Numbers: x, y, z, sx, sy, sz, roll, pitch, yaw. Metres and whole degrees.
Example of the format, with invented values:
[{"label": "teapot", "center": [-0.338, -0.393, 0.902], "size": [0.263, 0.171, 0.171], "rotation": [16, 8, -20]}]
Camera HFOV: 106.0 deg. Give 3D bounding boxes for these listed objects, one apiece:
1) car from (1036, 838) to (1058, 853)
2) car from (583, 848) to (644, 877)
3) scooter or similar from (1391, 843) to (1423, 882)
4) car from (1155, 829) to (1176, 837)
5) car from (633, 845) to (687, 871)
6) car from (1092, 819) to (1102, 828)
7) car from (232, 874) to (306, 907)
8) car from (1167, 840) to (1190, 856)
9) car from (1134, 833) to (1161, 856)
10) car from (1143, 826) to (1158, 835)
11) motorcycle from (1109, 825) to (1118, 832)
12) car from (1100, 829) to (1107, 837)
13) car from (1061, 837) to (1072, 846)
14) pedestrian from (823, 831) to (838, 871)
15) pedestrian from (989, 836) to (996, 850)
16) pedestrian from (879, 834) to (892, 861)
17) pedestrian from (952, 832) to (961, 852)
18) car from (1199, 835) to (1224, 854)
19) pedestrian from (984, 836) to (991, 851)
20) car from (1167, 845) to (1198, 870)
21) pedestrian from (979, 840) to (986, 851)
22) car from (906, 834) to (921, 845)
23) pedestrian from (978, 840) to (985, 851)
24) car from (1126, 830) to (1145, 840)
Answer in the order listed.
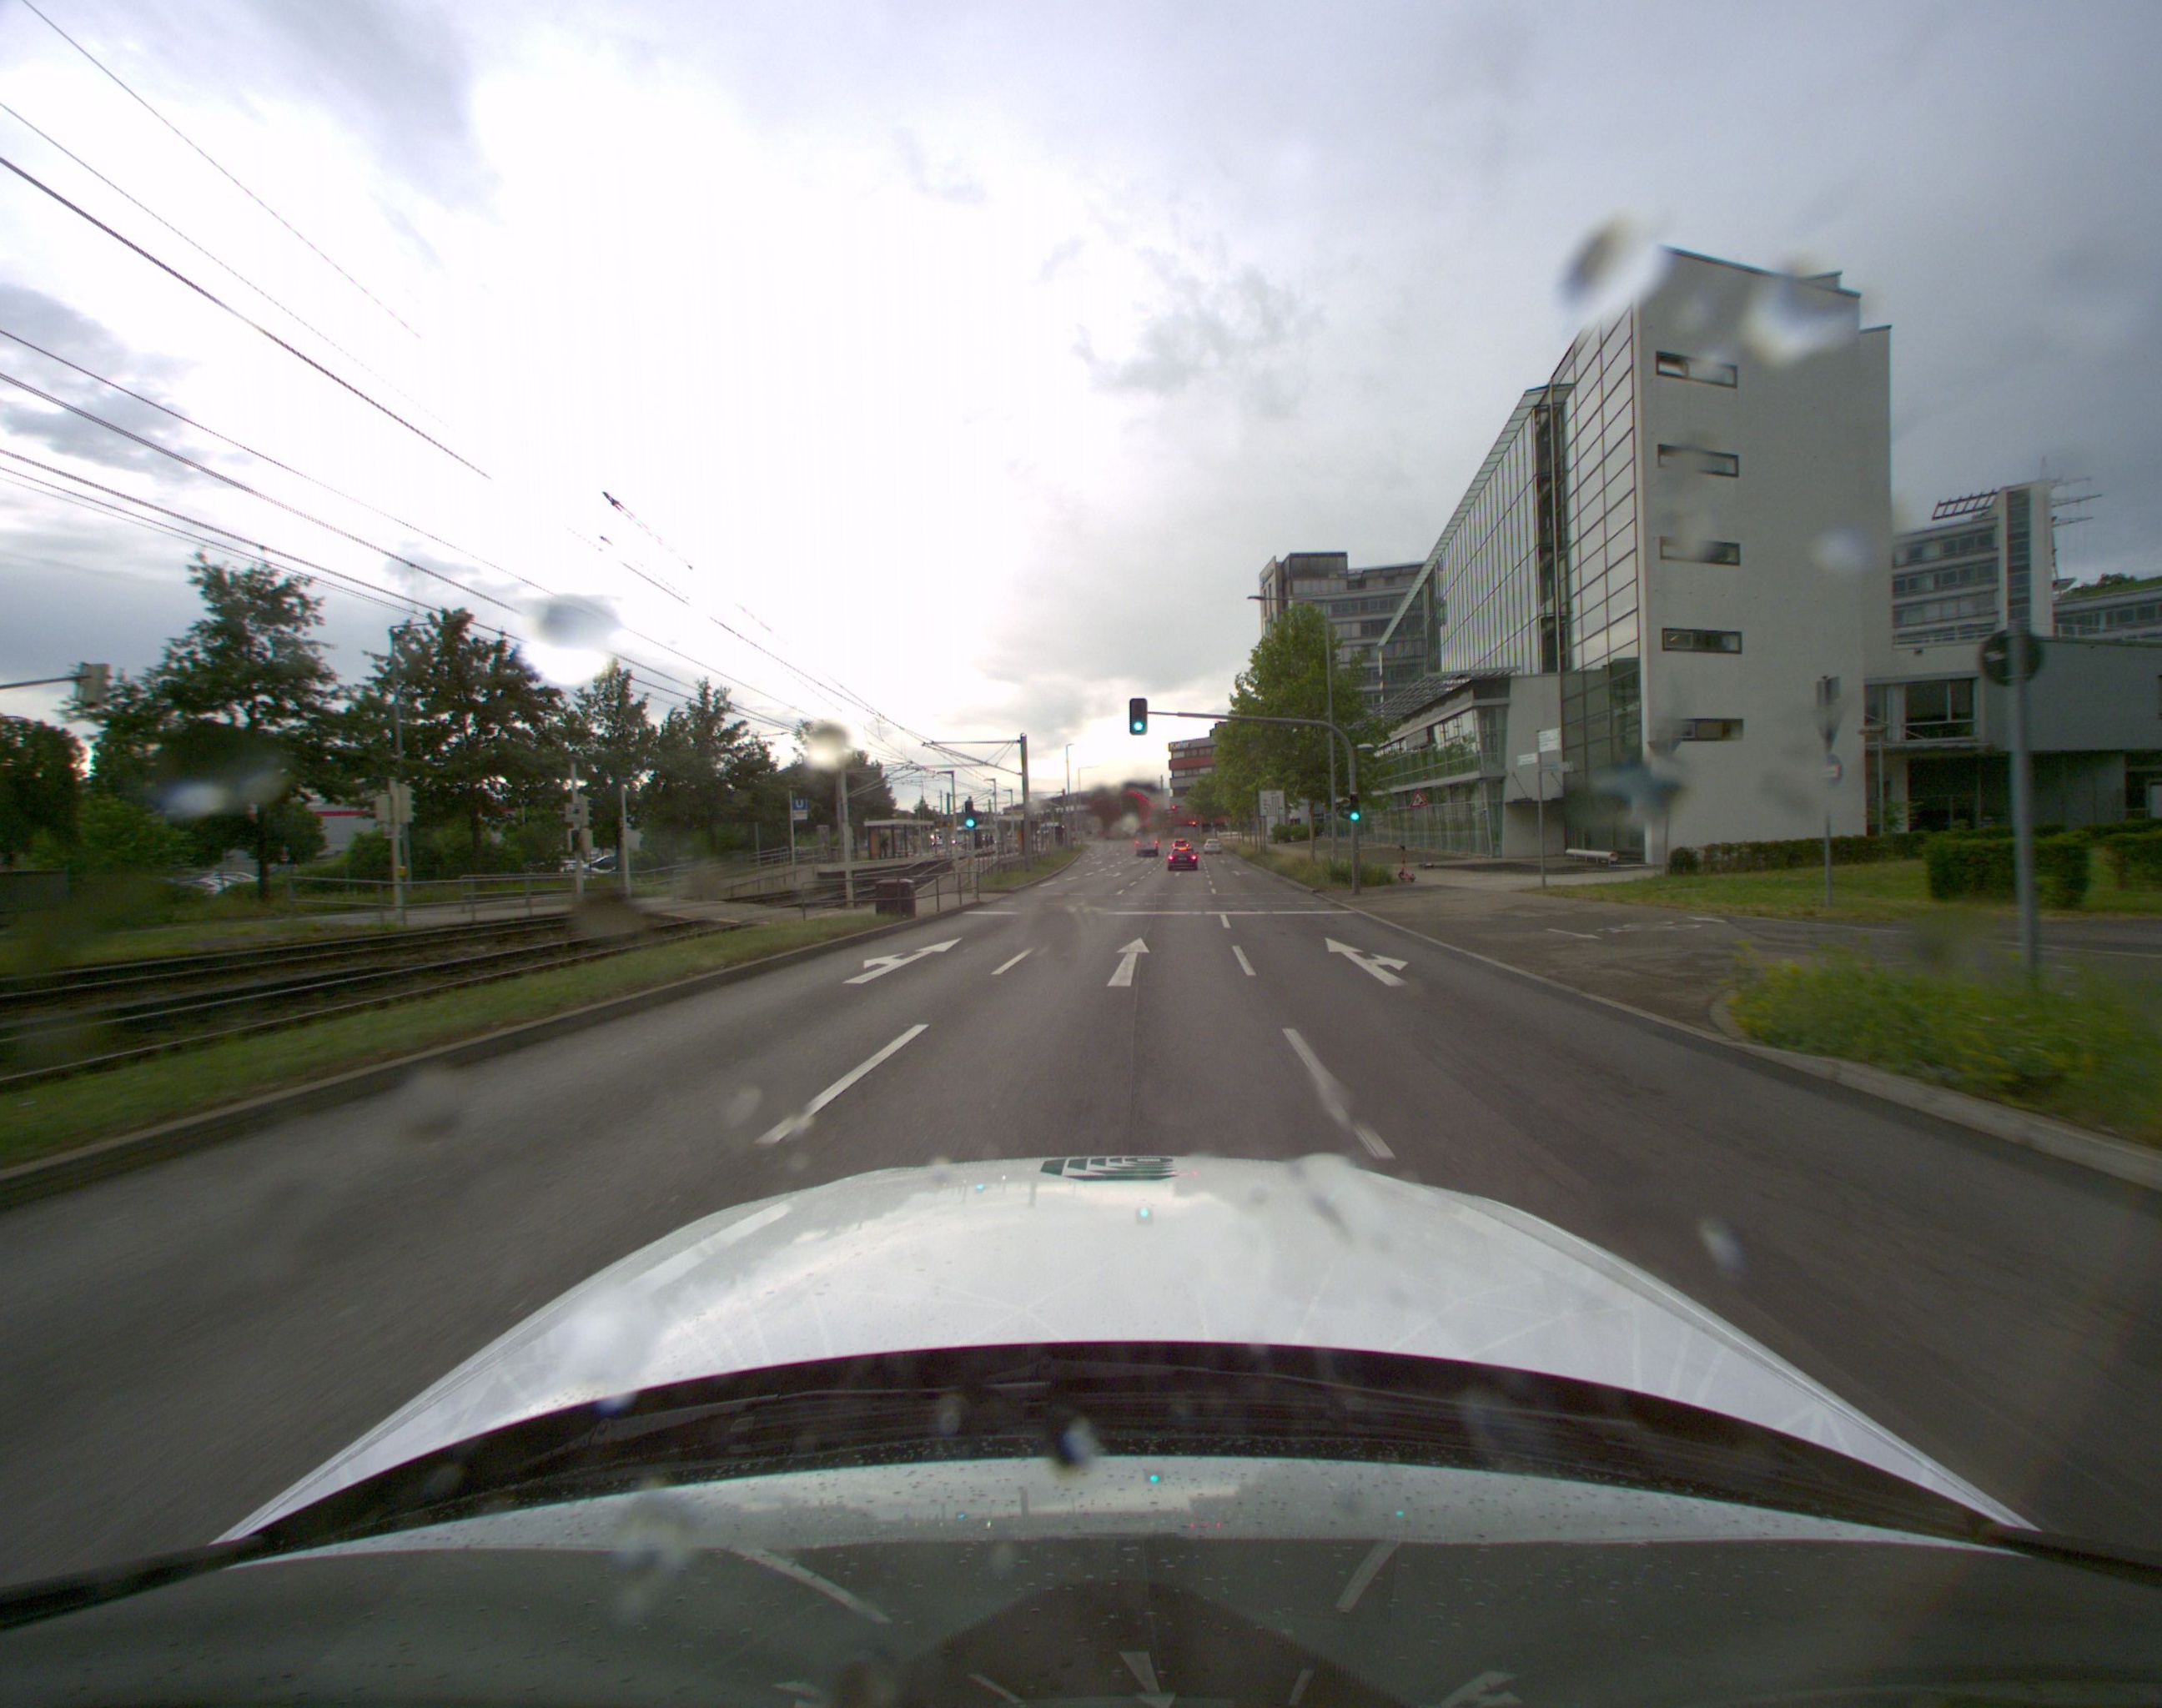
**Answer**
[{"label": "car", "center": [-3.677, -0.957, 88.815], "size": [1.985, 1.452, 3.852], "rotation": [-1, 4, 3]}, {"label": "car", "center": [-34.910, 0.655, 60.919], "size": [1.984, 2.014, 4.006], "rotation": [-1, -1, 5]}, {"label": "scooter or similar", "center": [10.963, 0.287, 27.450], "size": [0.456, 1.263, 1.337], "rotation": [-4, 0, 0]}, {"label": "car", "center": [17.359, -4.319, 167.527], "size": [2.037, 1.623, 3.955], "rotation": [-1, 1, -38]}, {"label": "car", "center": [-34.207, 0.313, 66.221], "size": [1.984, 2.013, 4.006], "rotation": [-1, 1, 5]}, {"label": "car", "center": [4.071, -7.611, 206.527], "size": [1.992, 2.014, 3.988], "rotation": [-1, -2, -8]}, {"label": "car", "center": [-38.146, 1.707, 38.351], "size": [2.010, 1.415, 3.954], "rotation": [0, -2, -38]}, {"label": "car", "center": [10.178, -0.655, 85.081], "size": [2.014, 1.623, 4.002], "rotation": [-1, 1, 1]}, {"label": "car", "center": [6.406, -0.939, 78.735], "size": [2.500, 2.177, 5.156], "rotation": [-1, 1, 4]}, {"label": "car", "center": [17.162, -5.752, 200.479], "size": [2.001, 2.014, 3.970], "rotation": [0, -2, -22]}, {"label": "motorcycle", "center": [9.911, -7.638, 245.720], "size": [1.992, 2.014, 3.989], "rotation": [-1, -2, -8]}, {"label": "car", "center": [6.113, -5.744, 222.879], "size": [1.813, 2.014, 3.467], "rotation": [-1, -2, -2]}, {"label": "car", "center": [-3.062, -2.596, 169.439], "size": [2.019, 1.623, 3.992], "rotation": [-1, 1, -6]}, {"label": "pedestrian", "center": [-12.444, -0.142, 40.418], "size": [0.547, 1.953, 0.663], "rotation": [-1, -2, -1]}, {"label": "pedestrian", "center": [-11.095, -1.392, 101.983], "size": [0.749, 1.751, 0.764], "rotation": [-1, -2, 3]}, {"label": "pedestrian", "center": [-13.352, -0.433, 55.575], "size": [0.634, 1.854, 0.751], "rotation": [-1, -2, 2]}, {"label": "pedestrian", "center": [-13.029, -1.267, 85.074], "size": [0.854, 2.014, 1.038], "rotation": [-1, -2, -7]}, {"label": "car", "center": [13.110, -1.018, 81.961], "size": [2.013, 1.769, 4.004], "rotation": [-1, 2, 3]}, {"label": "pedestrian", "center": [-10.954, -1.258, 95.579], "size": [0.726, 1.715, 0.832], "rotation": [-1, 0, 4]}, {"label": "car", "center": [6.273, 0.186, 50.054], "size": [1.754, 1.463, 4.639], "rotation": [0, 1, 9]}, {"label": "pedestrian", "center": [-11.754, -1.010, 97.076], "size": [0.724, 1.253, 0.732], "rotation": [-1, 0, 1]}, {"label": "car", "center": [-34.575, -3.054, 168.241], "size": [2.005, 2.014, 3.963], "rotation": [0, -2, -28]}, {"label": "pedestrian", "center": [-11.765, -1.010, 96.262], "size": [0.724, 1.253, 0.732], "rotation": [-1, 0, 1]}, {"label": "car", "center": [11.865, -4.159, 177.705], "size": [2.009, 2.013, 3.955], "rotation": [0, 0, -38]}]
